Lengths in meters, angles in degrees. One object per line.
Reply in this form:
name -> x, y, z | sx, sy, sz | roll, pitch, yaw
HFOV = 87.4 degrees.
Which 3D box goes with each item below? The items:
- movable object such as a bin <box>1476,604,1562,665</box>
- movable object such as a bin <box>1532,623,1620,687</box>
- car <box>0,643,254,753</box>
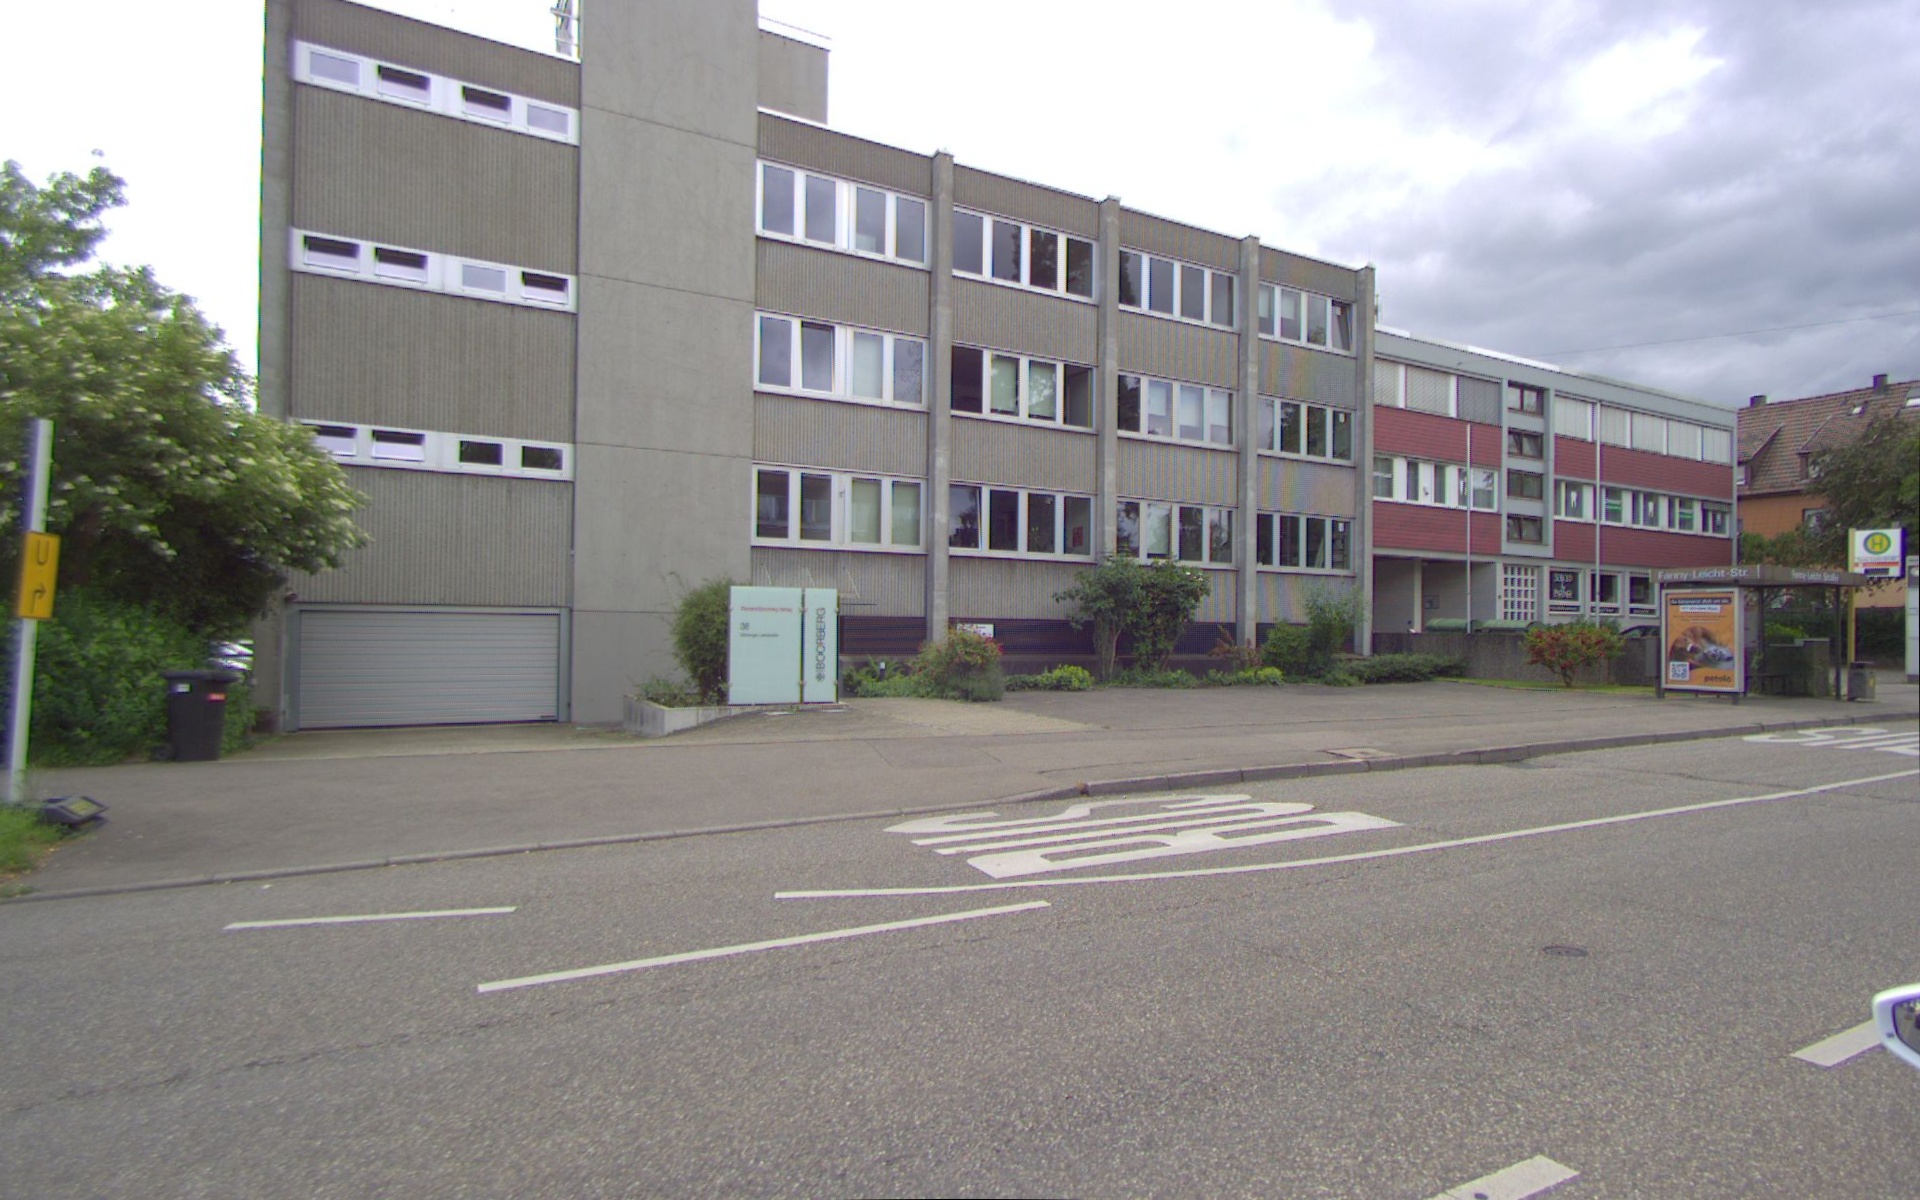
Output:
movable object such as a bin -> 19.522, 1.205, 35.129 | 1.765, 2.040, 1.985 | 0, -2, -30
movable object such as a bin -> 20.411, 1.796, 33.317 | 1.524, 2.040, 1.985 | 0, -2, -30
car -> -17.257, 1.938, 20.914 | 3.952, 2.040, 1.985 | 1, -2, -29
